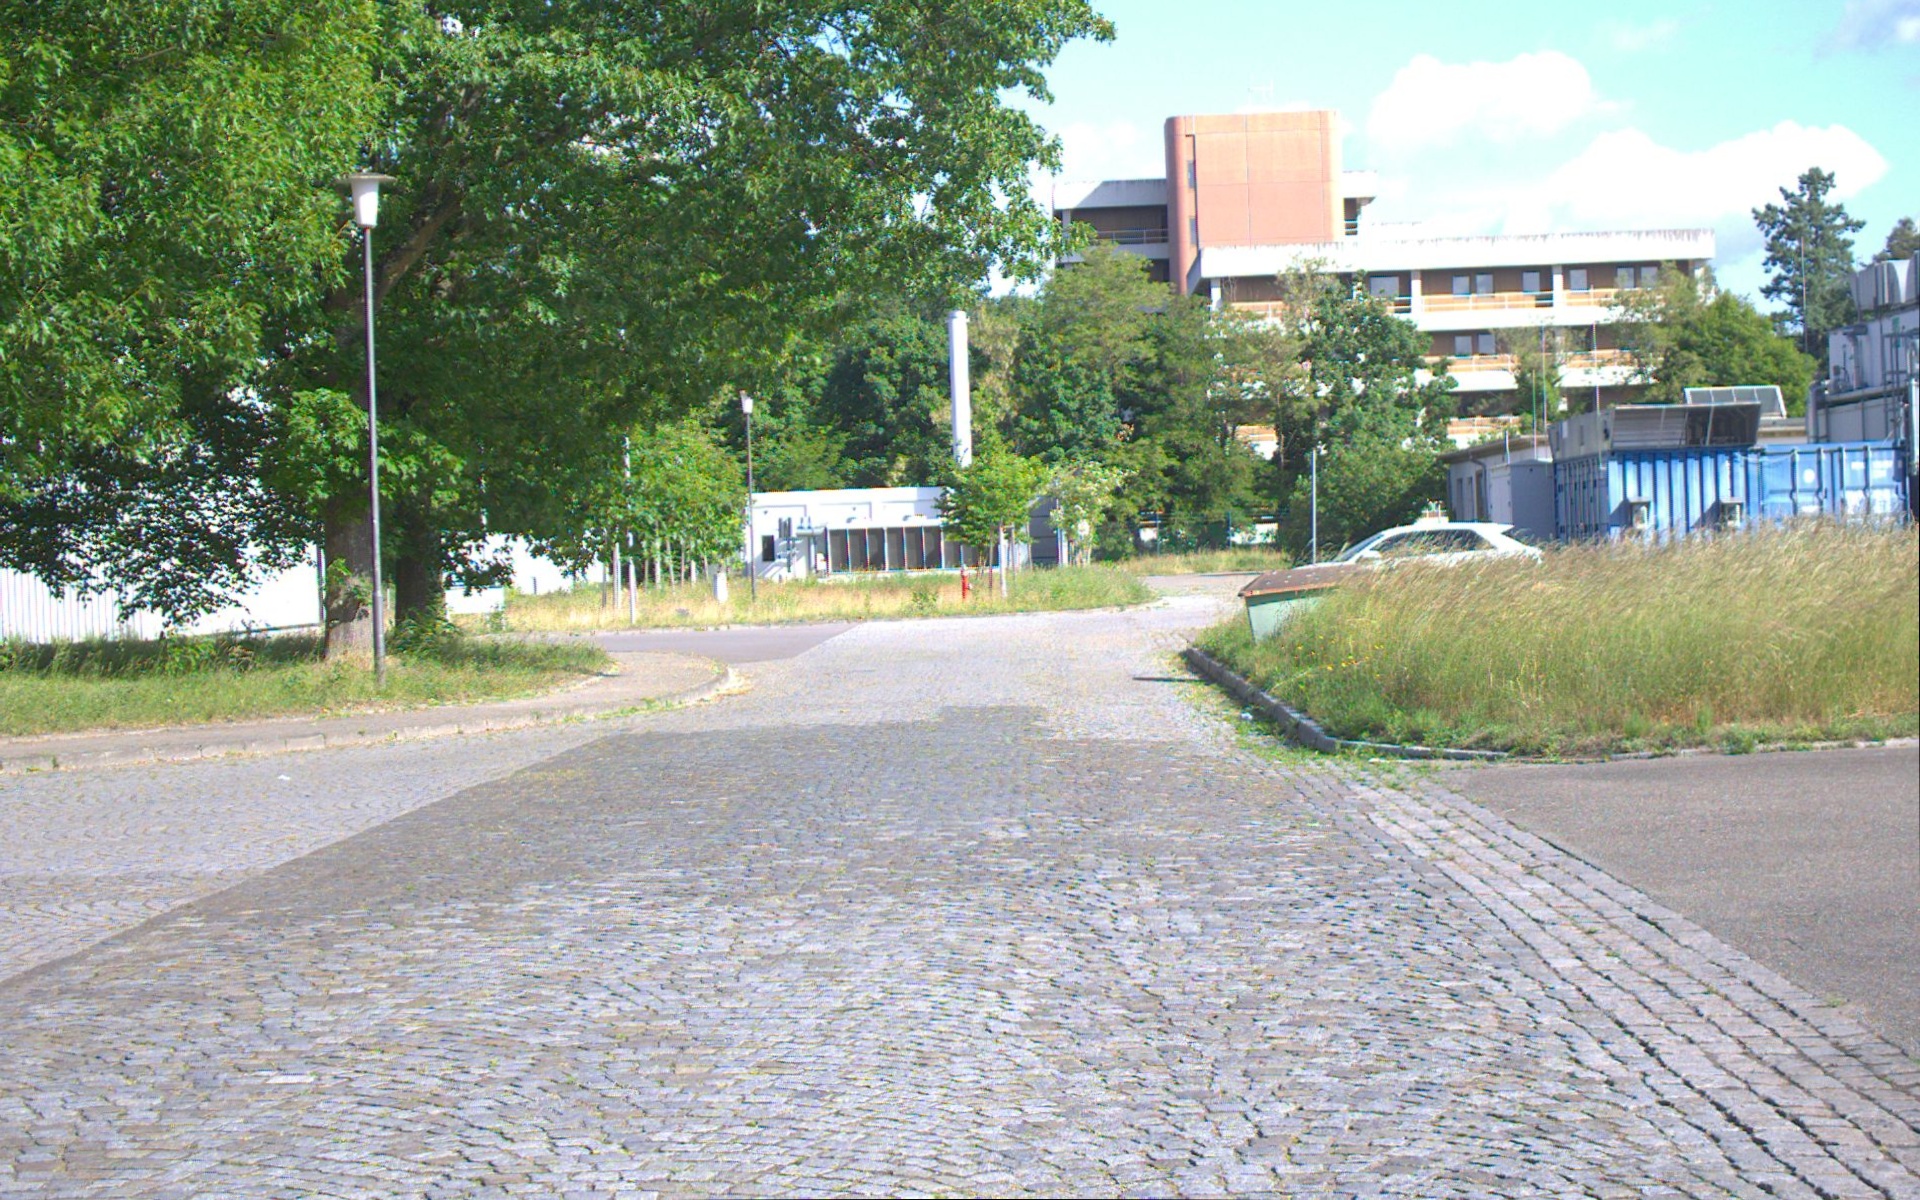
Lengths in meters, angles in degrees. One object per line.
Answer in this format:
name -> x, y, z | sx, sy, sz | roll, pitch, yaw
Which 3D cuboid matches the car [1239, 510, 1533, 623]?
car -> 6.963, -0.557, 56.521 | 4.588, 1.672, 1.875 | -2, 1, 1
